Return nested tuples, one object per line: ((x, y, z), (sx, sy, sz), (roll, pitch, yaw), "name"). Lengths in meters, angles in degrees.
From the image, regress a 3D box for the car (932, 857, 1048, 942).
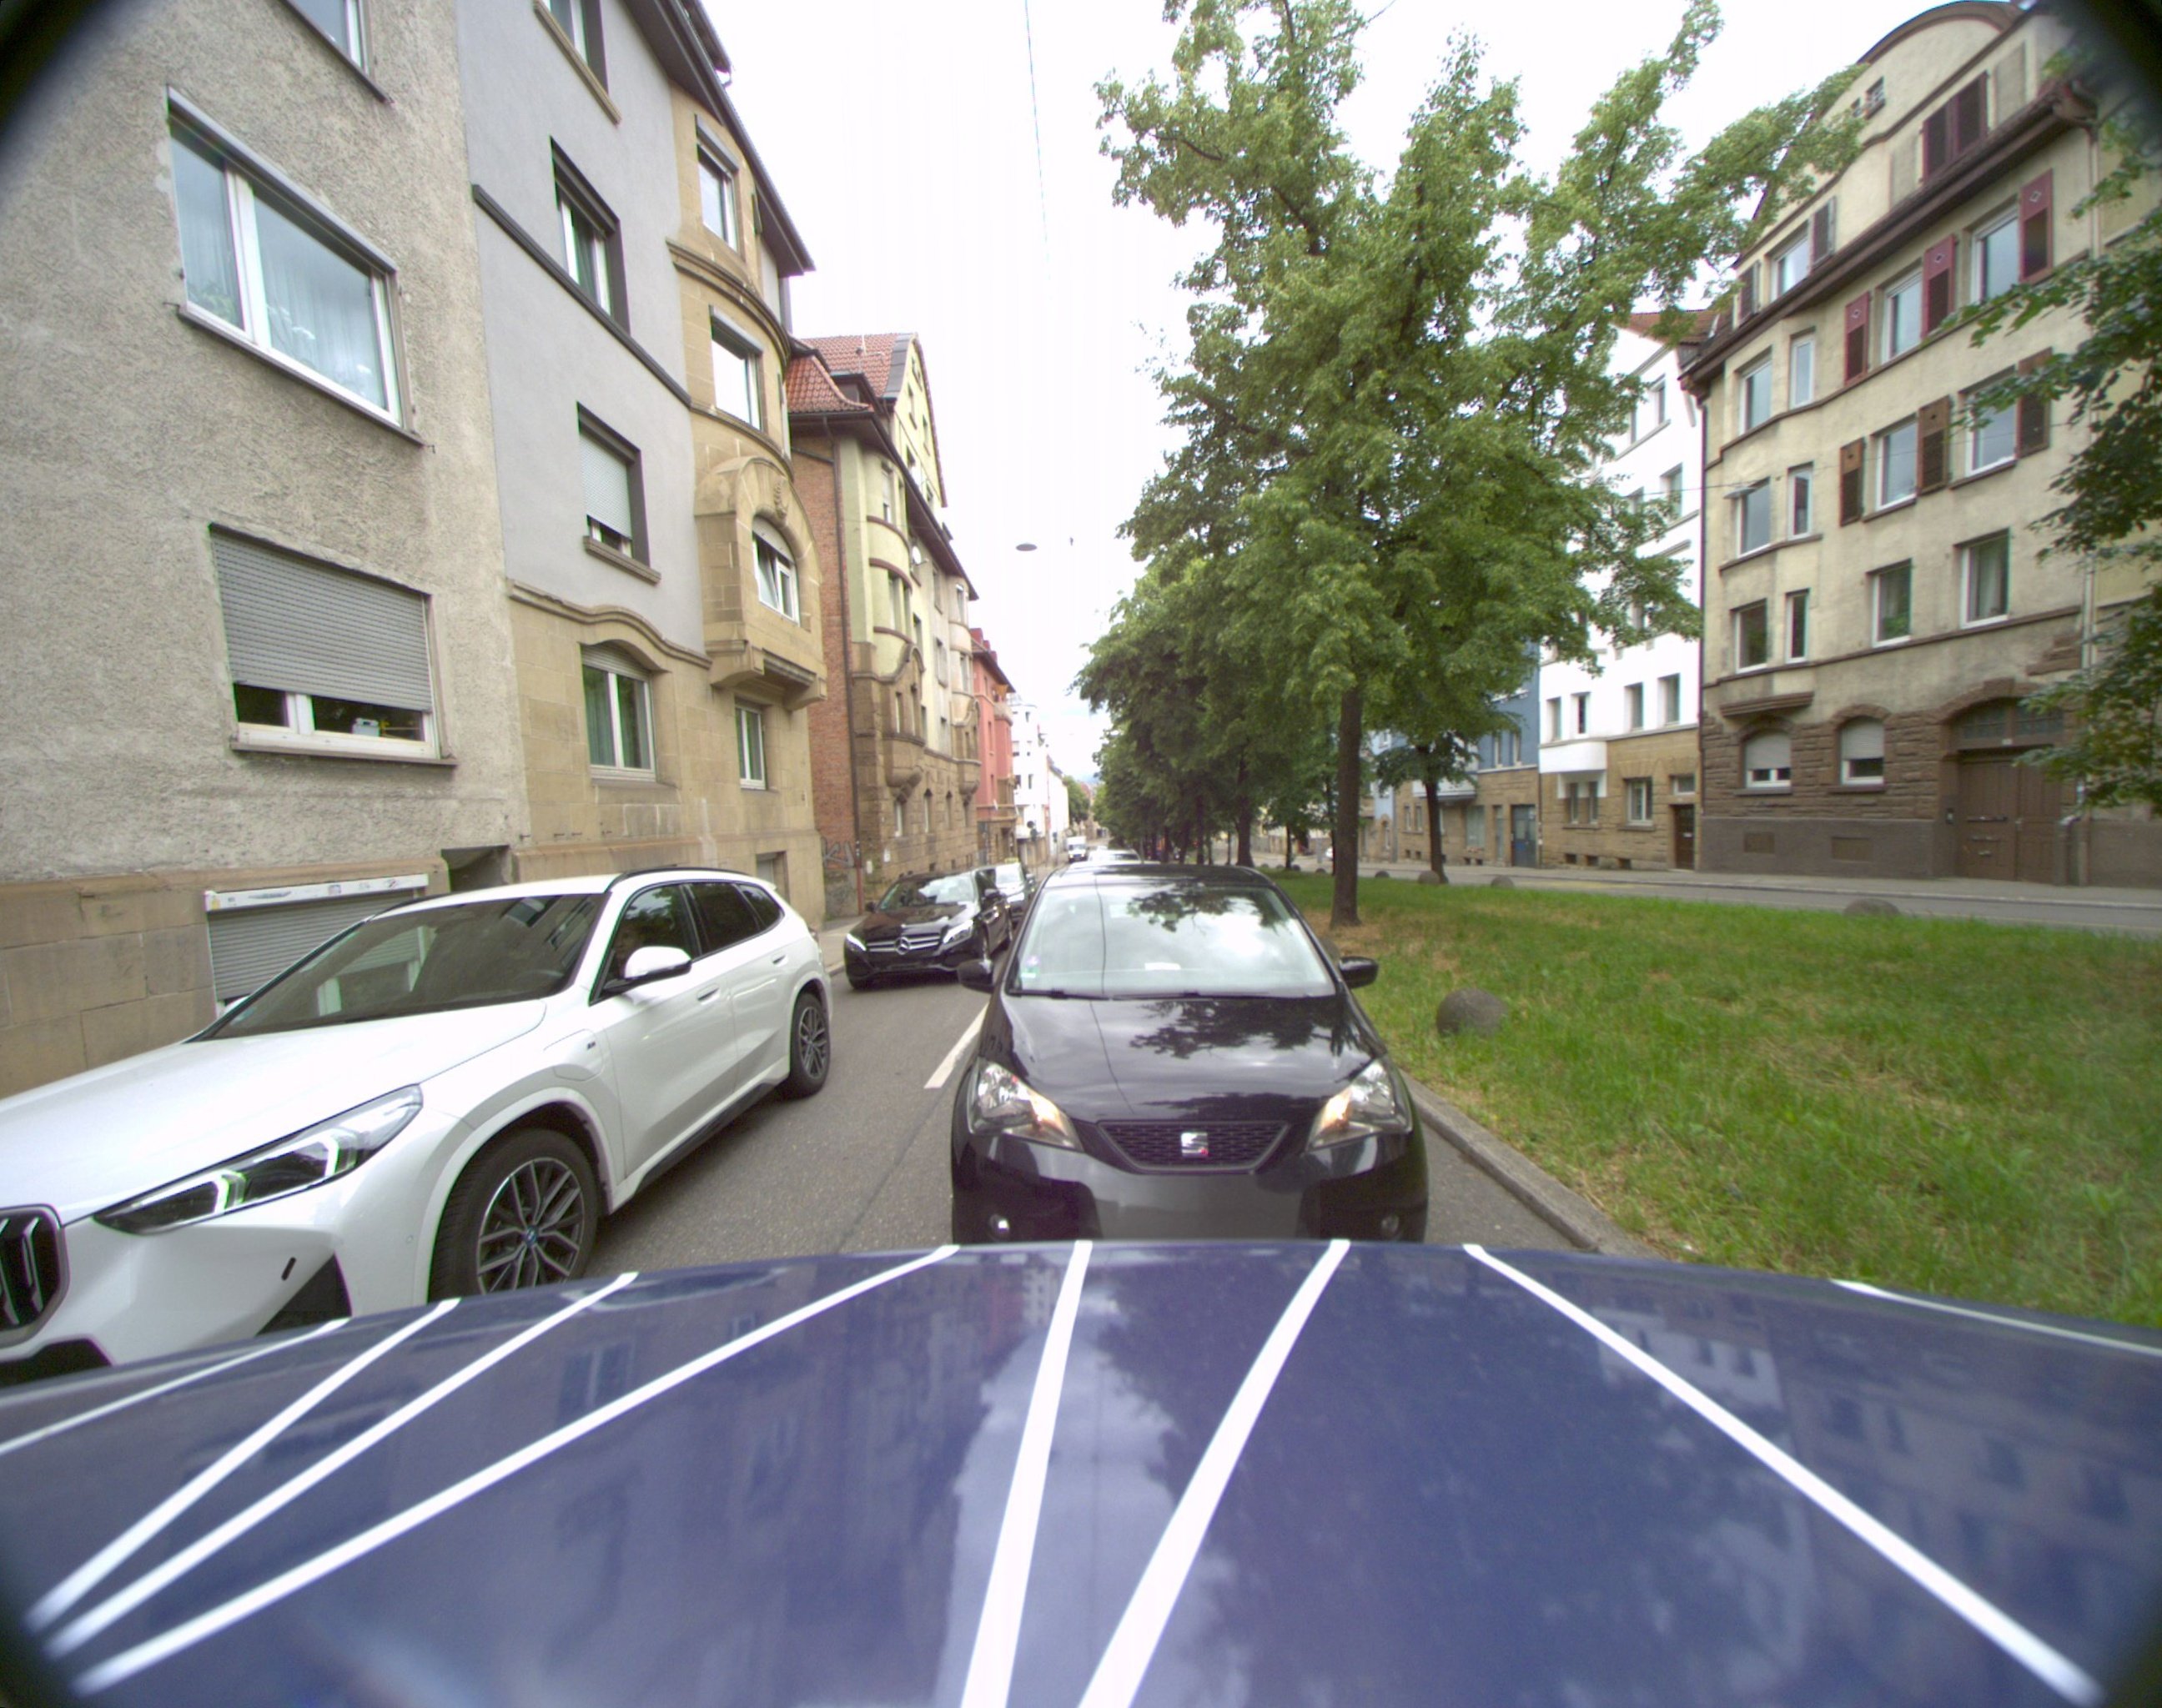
((-1.986, 0.957, 17.995), (1.936, 1.506, 4.303), (-6, 1, 2), "car")

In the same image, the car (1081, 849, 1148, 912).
((0.851, 0.645, 20.675), (1.607, 1.492, 3.737), (-2, 1, 1), "car")

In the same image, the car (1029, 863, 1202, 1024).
((0.366, 0.911, 9.339), (1.664, 1.456, 3.580), (-2, 1, 1), "car")

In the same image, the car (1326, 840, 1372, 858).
((22.204, -0.431, 63.033), (3.291, 1.323, 1.672), (-2, 1, 10), "car")

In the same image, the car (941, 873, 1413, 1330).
((0.352, 0.896, 4.257), (1.611, 1.457, 3.296), (0, 1, 1), "car")

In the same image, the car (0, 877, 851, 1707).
((-2.813, 1.075, 3.746), (1.859, 1.547, 4.350), (-6, 1, 0), "car")

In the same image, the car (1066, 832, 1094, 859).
((-0.055, -0.942, 85.346), (2.716, 2.879, 6.453), (-2, 1, 2), "car")

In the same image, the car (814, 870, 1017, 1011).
((-2.156, 1.078, 11.177), (1.884, 1.369, 4.205), (-6, 1, 1), "car")
